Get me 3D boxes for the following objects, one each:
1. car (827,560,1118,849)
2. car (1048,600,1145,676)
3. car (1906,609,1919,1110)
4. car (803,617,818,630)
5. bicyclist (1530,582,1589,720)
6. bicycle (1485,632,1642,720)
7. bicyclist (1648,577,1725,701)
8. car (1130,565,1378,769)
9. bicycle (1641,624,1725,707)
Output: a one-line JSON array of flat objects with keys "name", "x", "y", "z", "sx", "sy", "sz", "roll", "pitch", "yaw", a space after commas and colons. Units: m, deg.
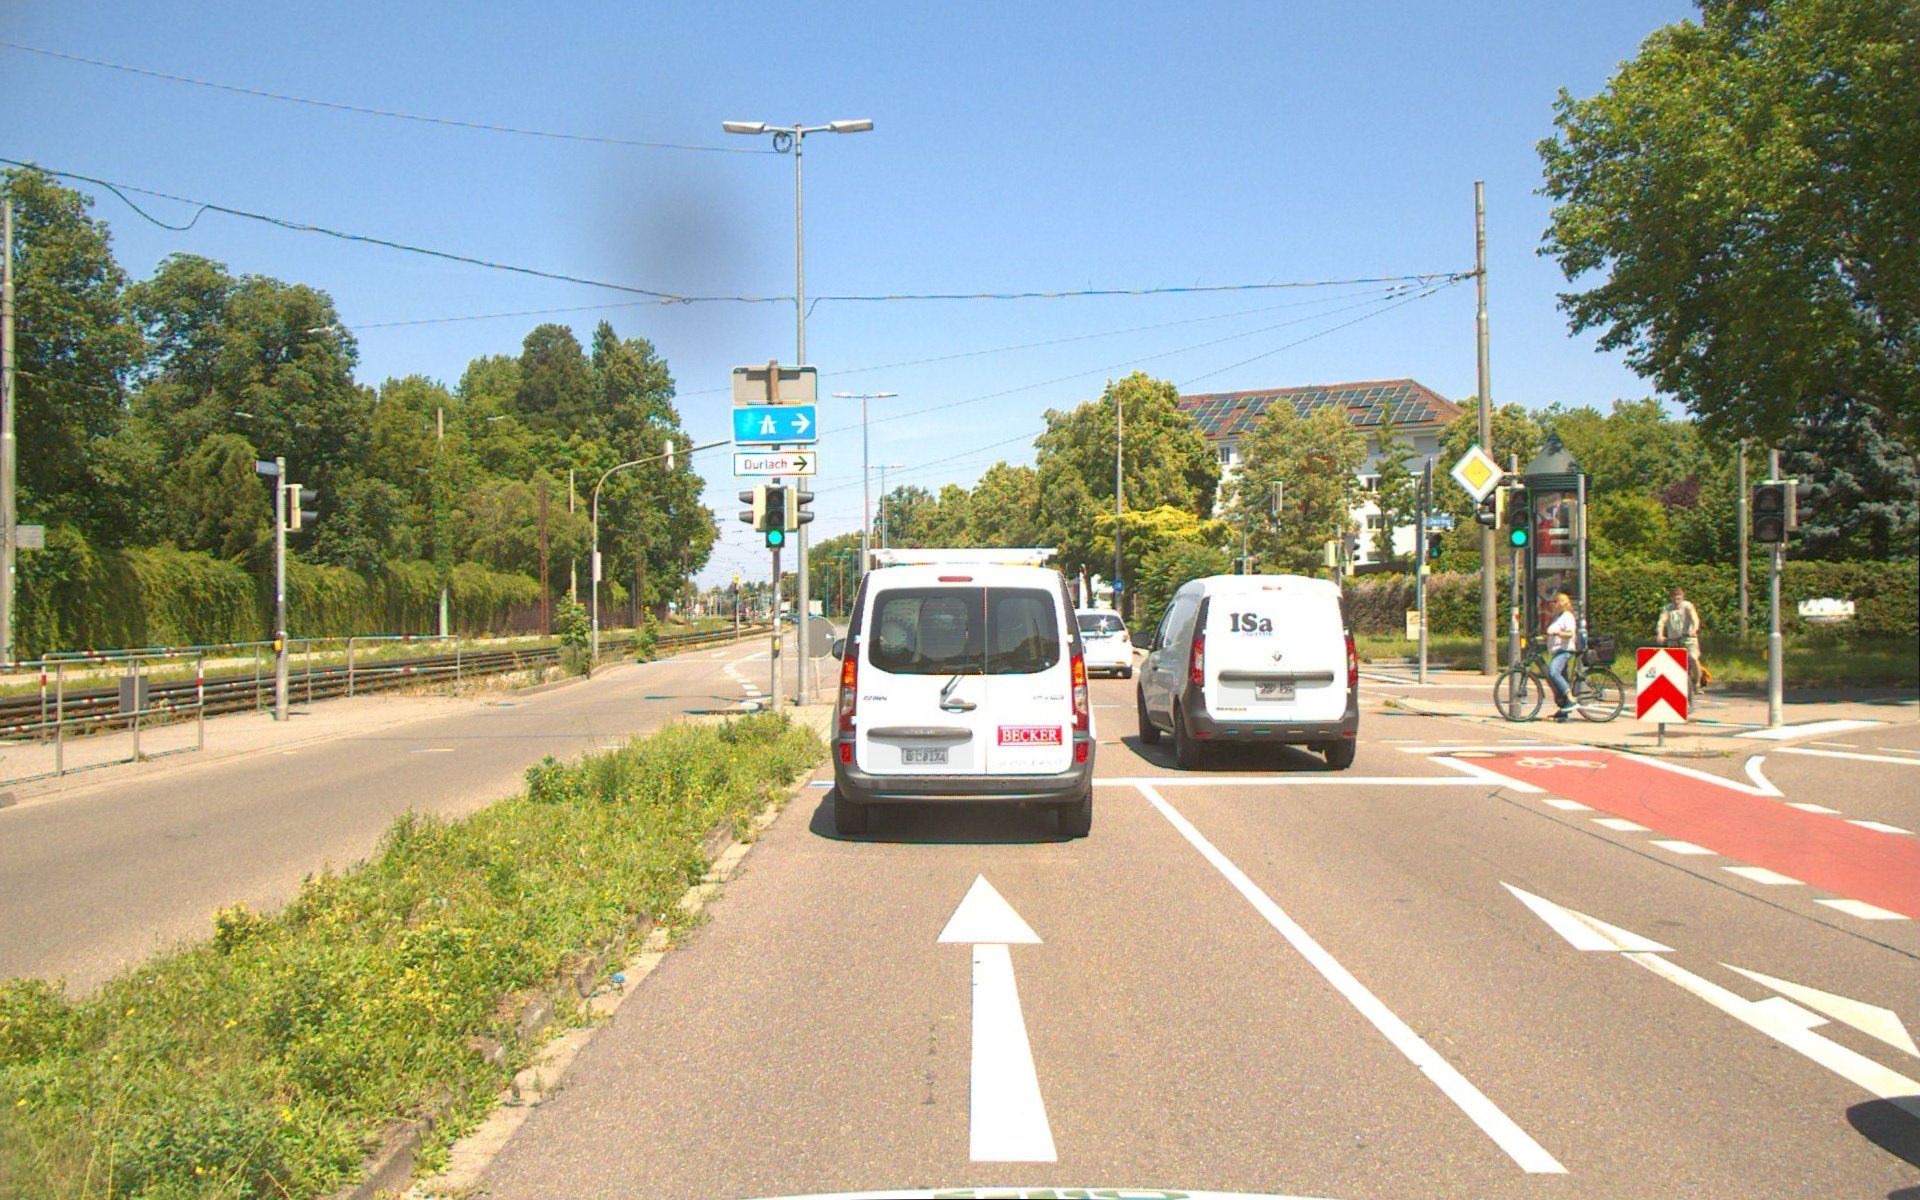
[{"name": "car", "x": 0.046, "y": 0.656, "z": 12.468, "sx": 1.784, "sy": 1.770, "sz": 4.395, "roll": 1, "pitch": 0, "yaw": -1}, {"name": "car", "x": 3.035, "y": 0.818, "z": 37.472, "sx": 1.798, "sy": 1.596, "sz": 3.999, "roll": 1, "pitch": 0, "yaw": -1}, {"name": "car", "x": 3.635, "y": 0.784, "z": 3.236, "sx": 1.577, "sy": 1.473, "sz": 3.435, "roll": 1, "pitch": 0, "yaw": 0}, {"name": "car", "x": -17.781, "y": 2.802, "z": 196.378, "sx": 1.665, "sy": 1.539, "sz": 4.060, "roll": -1, "pitch": 0, "yaw": -6}, {"name": "bicyclist", "x": 8.119, "y": 0.680, "z": 22.411, "sx": 0.564, "sy": 1.819, "sz": 0.768, "roll": 1, "pitch": -1, "yaw": 7}, {"name": "bicycle", "x": 8.113, "y": 1.008, "z": 22.311, "sx": 1.827, "sy": 1.144, "sz": 0.895, "roll": 0, "pitch": -1, "yaw": 7}, {"name": "bicyclist", "x": 10.839, "y": 0.575, "z": 24.681, "sx": 0.956, "sy": 1.819, "sz": 0.724, "roll": -1, "pitch": -1, "yaw": 32}, {"name": "car", "x": 2.870, "y": 0.627, "z": 17.008, "sx": 1.693, "sy": 1.820, "sz": 4.062, "roll": 1, "pitch": -1, "yaw": -2}, {"name": "bicycle", "x": 10.806, "y": 0.951, "z": 24.695, "sx": 0.876, "sy": 1.179, "sz": 1.951, "roll": -1, "pitch": -1, "yaw": 32}]
